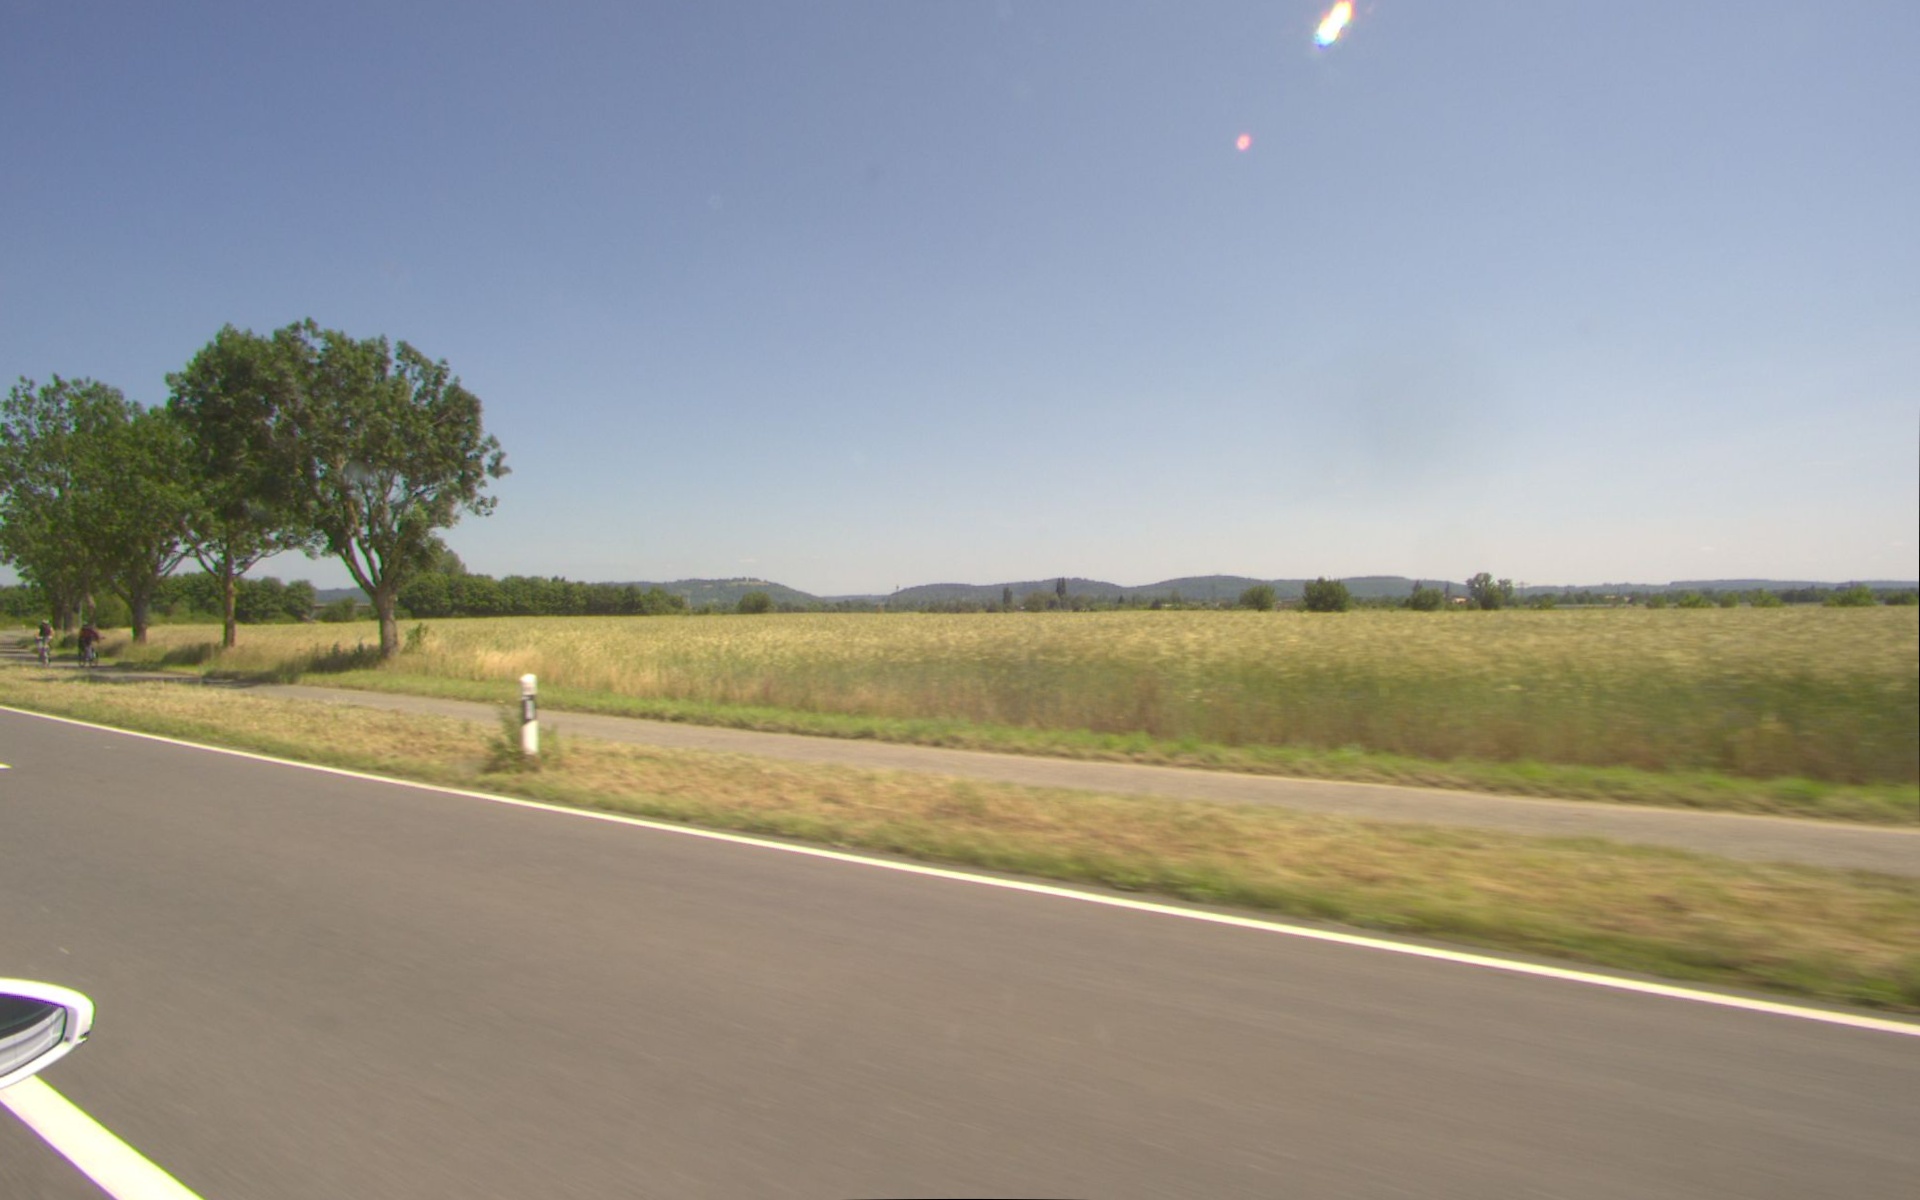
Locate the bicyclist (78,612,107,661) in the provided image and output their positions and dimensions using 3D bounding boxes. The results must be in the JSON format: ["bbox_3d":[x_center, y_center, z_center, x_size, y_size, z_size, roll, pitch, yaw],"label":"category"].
[{"bbox_3d":[-33.312,1.399,38.459,0.967,1.804,0.625,1,-4,43],"label":"bicyclist"}]

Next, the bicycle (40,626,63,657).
[{"bbox_3d":[-36.360,1.669,40.071,0.602,1.191,2.032,5,-4,-43],"label":"bicycle"}]

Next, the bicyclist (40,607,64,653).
[{"bbox_3d":[-36.373,1.201,40.125,0.584,1.755,1.161,6,-4,-43],"label":"bicyclist"}]

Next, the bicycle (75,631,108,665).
[{"bbox_3d":[-33.329,1.834,38.420,2.029,1.225,0.695,-1,-3,43],"label":"bicycle"}]
